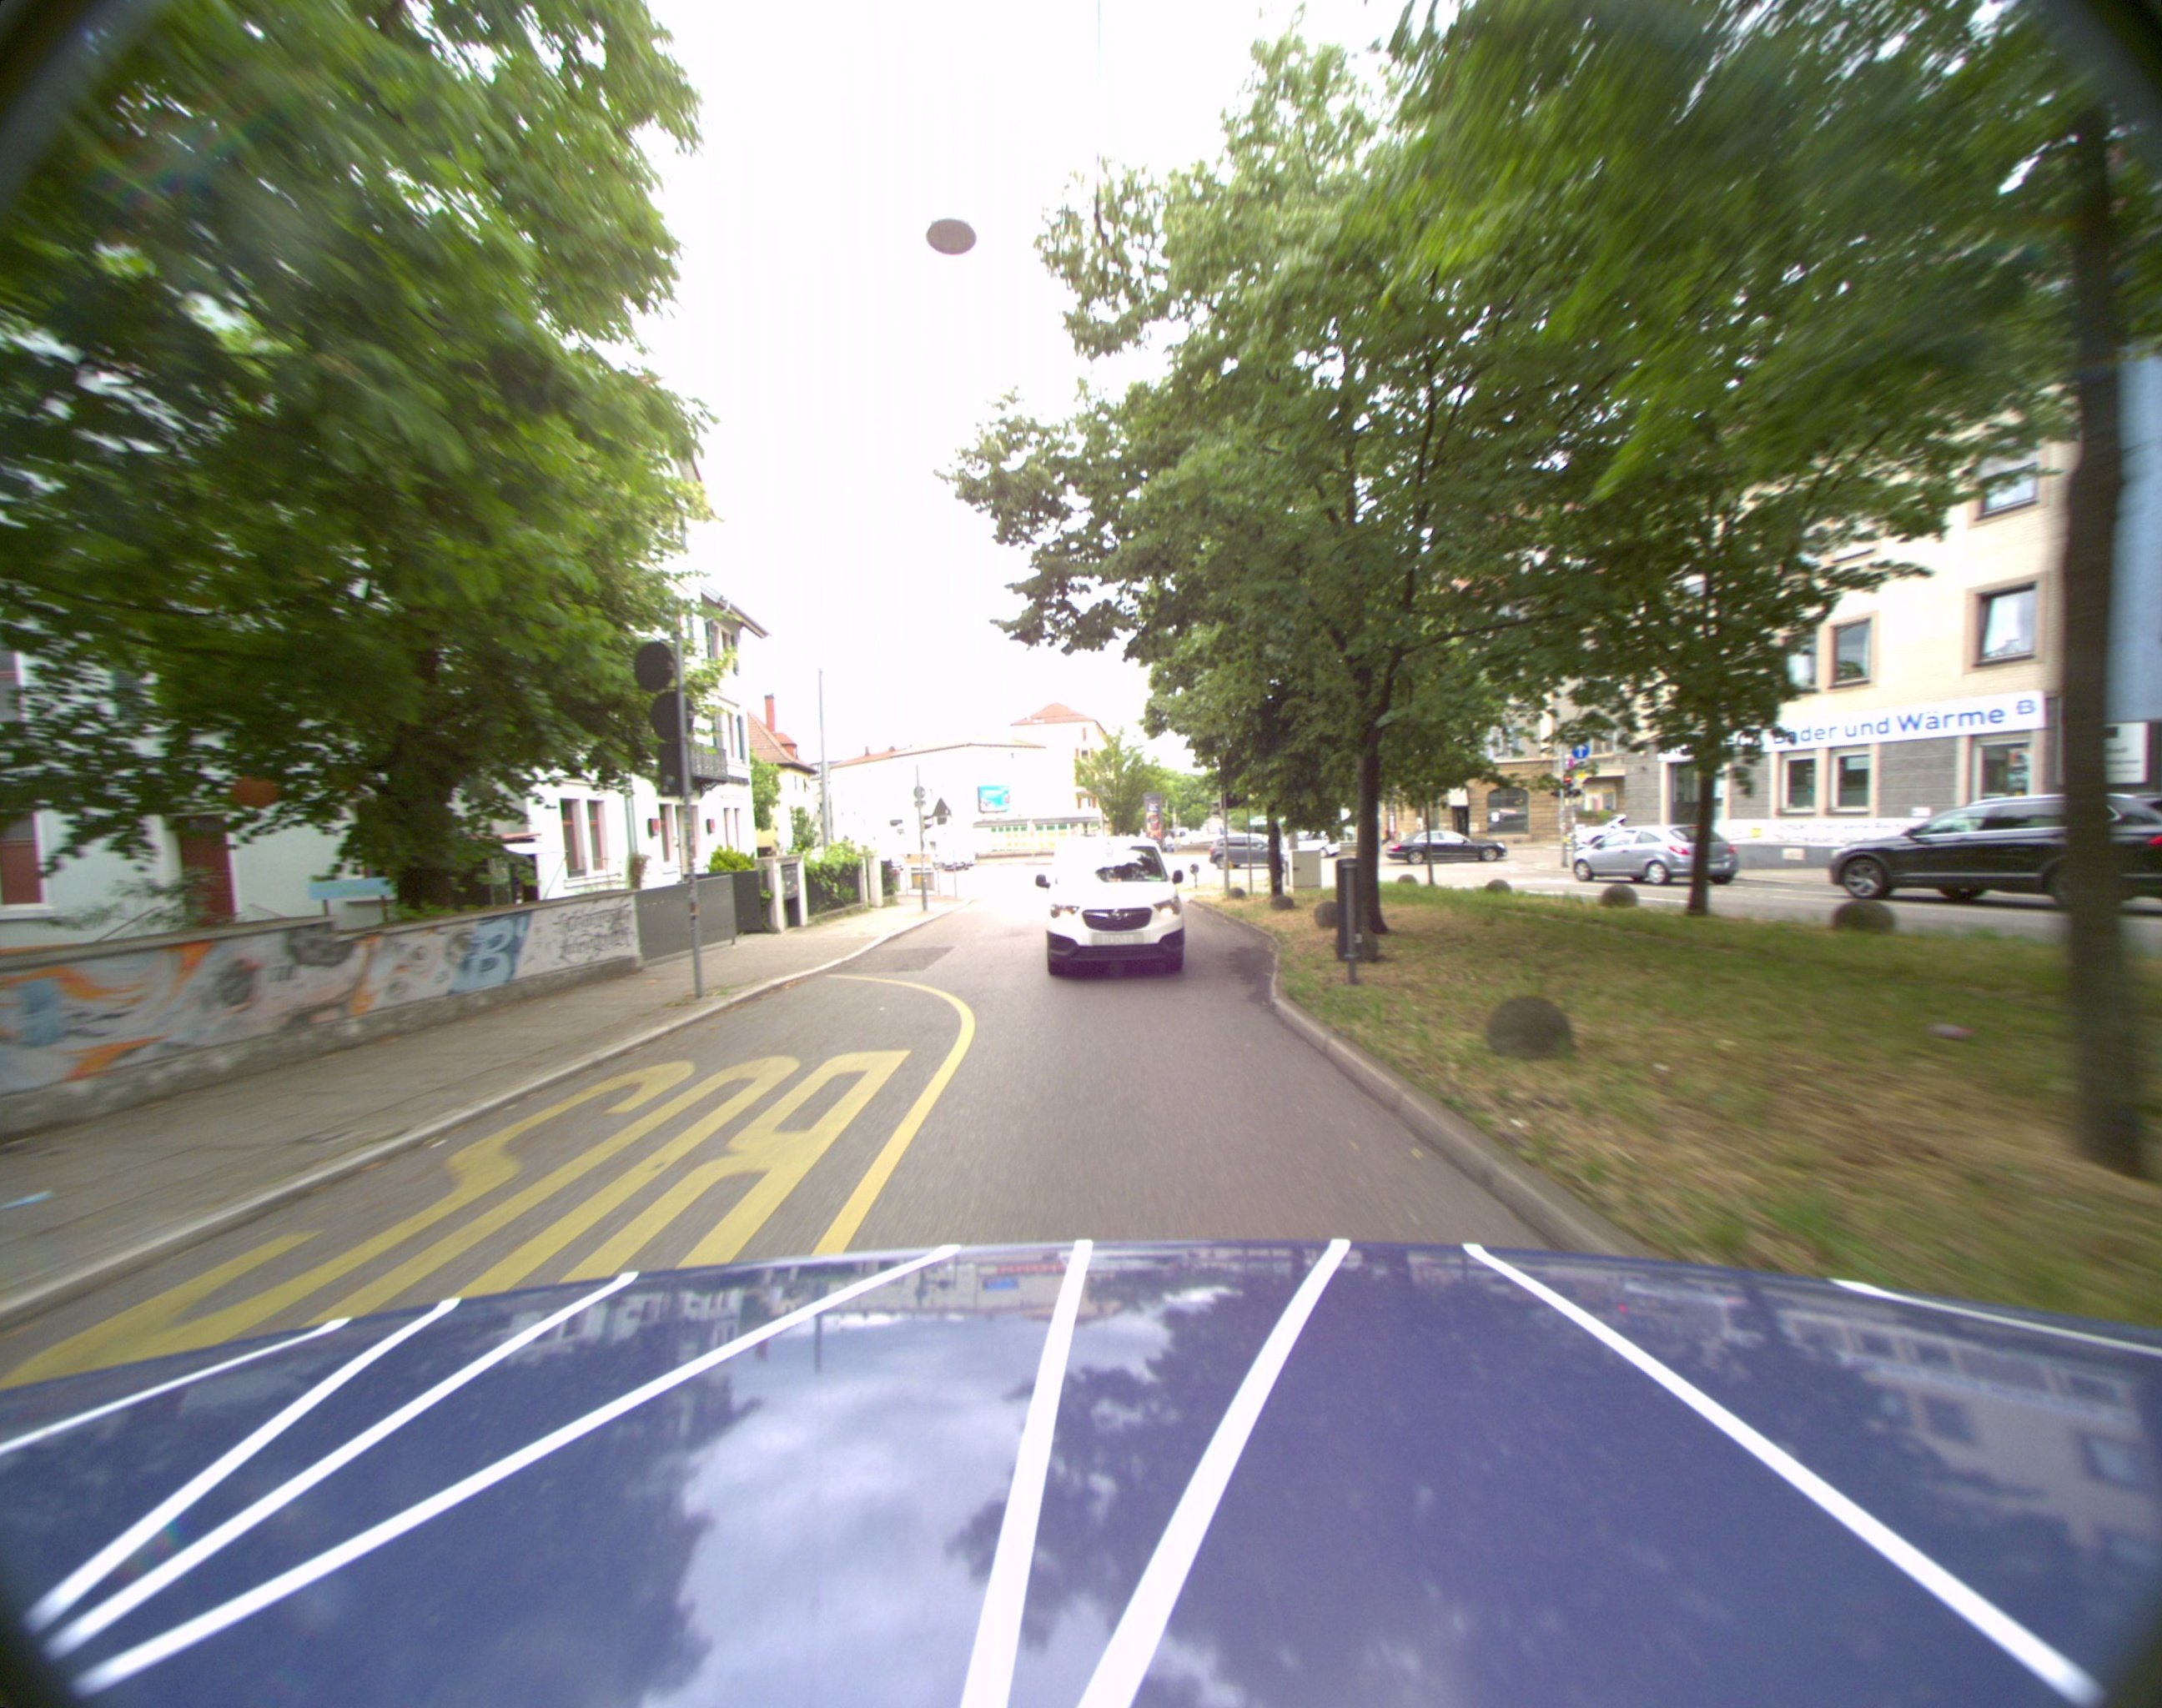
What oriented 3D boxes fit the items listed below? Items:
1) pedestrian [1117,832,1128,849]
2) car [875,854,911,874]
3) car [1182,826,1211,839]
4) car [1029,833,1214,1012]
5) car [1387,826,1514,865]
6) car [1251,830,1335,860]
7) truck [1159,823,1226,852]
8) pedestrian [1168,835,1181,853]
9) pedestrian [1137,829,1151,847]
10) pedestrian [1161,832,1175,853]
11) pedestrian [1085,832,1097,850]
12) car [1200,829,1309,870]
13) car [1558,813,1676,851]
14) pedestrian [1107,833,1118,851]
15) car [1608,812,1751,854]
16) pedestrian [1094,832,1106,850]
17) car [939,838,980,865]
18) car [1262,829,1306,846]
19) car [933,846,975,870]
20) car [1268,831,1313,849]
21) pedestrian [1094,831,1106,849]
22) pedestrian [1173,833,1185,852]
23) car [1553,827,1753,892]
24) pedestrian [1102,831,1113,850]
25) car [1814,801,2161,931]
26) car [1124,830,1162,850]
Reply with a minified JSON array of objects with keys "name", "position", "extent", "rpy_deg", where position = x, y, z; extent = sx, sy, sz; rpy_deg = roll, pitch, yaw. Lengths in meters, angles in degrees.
[{"name":"pedestrian","position":[4.208,-1.350,76.847],"extent":[0.867,1.610,0.919],"rpy_deg":[-3,3,13]},{"name":"car","position":[-16.136,0.882,65.064],"extent":[1.957,1.541,4.027],"rpy_deg":[-4,1,-29]},{"name":"car","position":[17.389,-3.263,114.518],"extent":[3.937,1.696,1.889],"rpy_deg":[-5,3,-23]},{"name":"car","position":[0.521,0.724,10.396],"extent":[1.857,1.798,4.729],"rpy_deg":[-3,0,2]},{"name":"car","position":[15.989,-0.369,33.144],"extent":[4.729,1.412,1.843],"rpy_deg":[-3,3,17]},{"name":"car","position":[11.575,-0.504,41.576],"extent":[3.951,1.422,1.799],"rpy_deg":[-1,4,36]},{"name":"truck","position":[11.429,-1.703,77.672],"extent":[6.466,2.707,2.765],"rpy_deg":[-2,1,-34]},{"name":"pedestrian","position":[7.182,-0.794,58.217],"extent":[0.665,1.334,0.627],"rpy_deg":[-5,4,-33]},{"name":"pedestrian","position":[7.035,-1.792,85.140],"extent":[0.930,1.948,1.265],"rpy_deg":[-5,3,-24]},{"name":"pedestrian","position":[6.743,-0.920,58.876],"extent":[0.707,1.574,0.801],"rpy_deg":[-6,4,-34]},{"name":"pedestrian","position":[0.873,-1.151,68.423],"extent":[0.773,1.610,0.648],"rpy_deg":[-6,4,-43]},{"name":"car","position":[8.418,-0.190,37.052],"extent":[4.717,1.605,1.862],"rpy_deg":[-4,2,38]},{"name":"car","position":[24.275,-1.010,34.537],"extent":[4.048,1.465,1.652],"rpy_deg":[-3,3,10]},{"name":"pedestrian","position":[3.100,-1.173,74.515],"extent":[0.867,1.610,0.919],"rpy_deg":[-3,3,13]},{"name":"car","position":[24.352,-0.875,31.066],"extent":[4.260,1.335,1.707],"rpy_deg":[-3,6,11]},{"name":"pedestrian","position":[1.664,-1.170,67.854],"extent":[0.770,1.610,0.651],"rpy_deg":[-1,4,32]},{"name":"car","position":[-10.163,-0.228,63.150],"extent":[2.002,2.003,4.259],"rpy_deg":[-5,3,-27]},{"name":"car","position":[21.295,-1.772,79.821],"extent":[3.922,1.590,1.896],"rpy_deg":[-1,4,45]},{"name":"car","position":[-9.313,0.295,55.516],"extent":[2.042,1.541,4.028],"rpy_deg":[-4,1,-24]},{"name":"car","position":[21.054,-1.432,76.433],"extent":[3.922,1.590,1.896],"rpy_deg":[-1,4,45]},{"name":"pedestrian","position":[1.773,-1.253,69.464],"extent":[0.773,1.610,0.648],"rpy_deg":[-6,4,-38]},{"name":"pedestrian","position":[7.438,-0.884,57.635],"extent":[0.606,1.425,0.600],"rpy_deg":[-5,4,-33]},{"name":"car","position":[14.169,0.104,19.196],"extent":[1.673,1.398,4.293],"rpy_deg":[-2,1,-3]},{"name":"pedestrian","position":[2.348,-1.178,67.183],"extent":[0.607,1.610,0.553],"rpy_deg":[-6,4,-35]},{"name":"car","position":[14.360,0.077,11.550],"extent":[1.820,1.627,4.677],"rpy_deg":[-1,2,-1]},{"name":"car","position":[5.817,-1.360,70.539],"extent":[2.207,1.563,4.482],"rpy_deg":[-2,3,22]}]
